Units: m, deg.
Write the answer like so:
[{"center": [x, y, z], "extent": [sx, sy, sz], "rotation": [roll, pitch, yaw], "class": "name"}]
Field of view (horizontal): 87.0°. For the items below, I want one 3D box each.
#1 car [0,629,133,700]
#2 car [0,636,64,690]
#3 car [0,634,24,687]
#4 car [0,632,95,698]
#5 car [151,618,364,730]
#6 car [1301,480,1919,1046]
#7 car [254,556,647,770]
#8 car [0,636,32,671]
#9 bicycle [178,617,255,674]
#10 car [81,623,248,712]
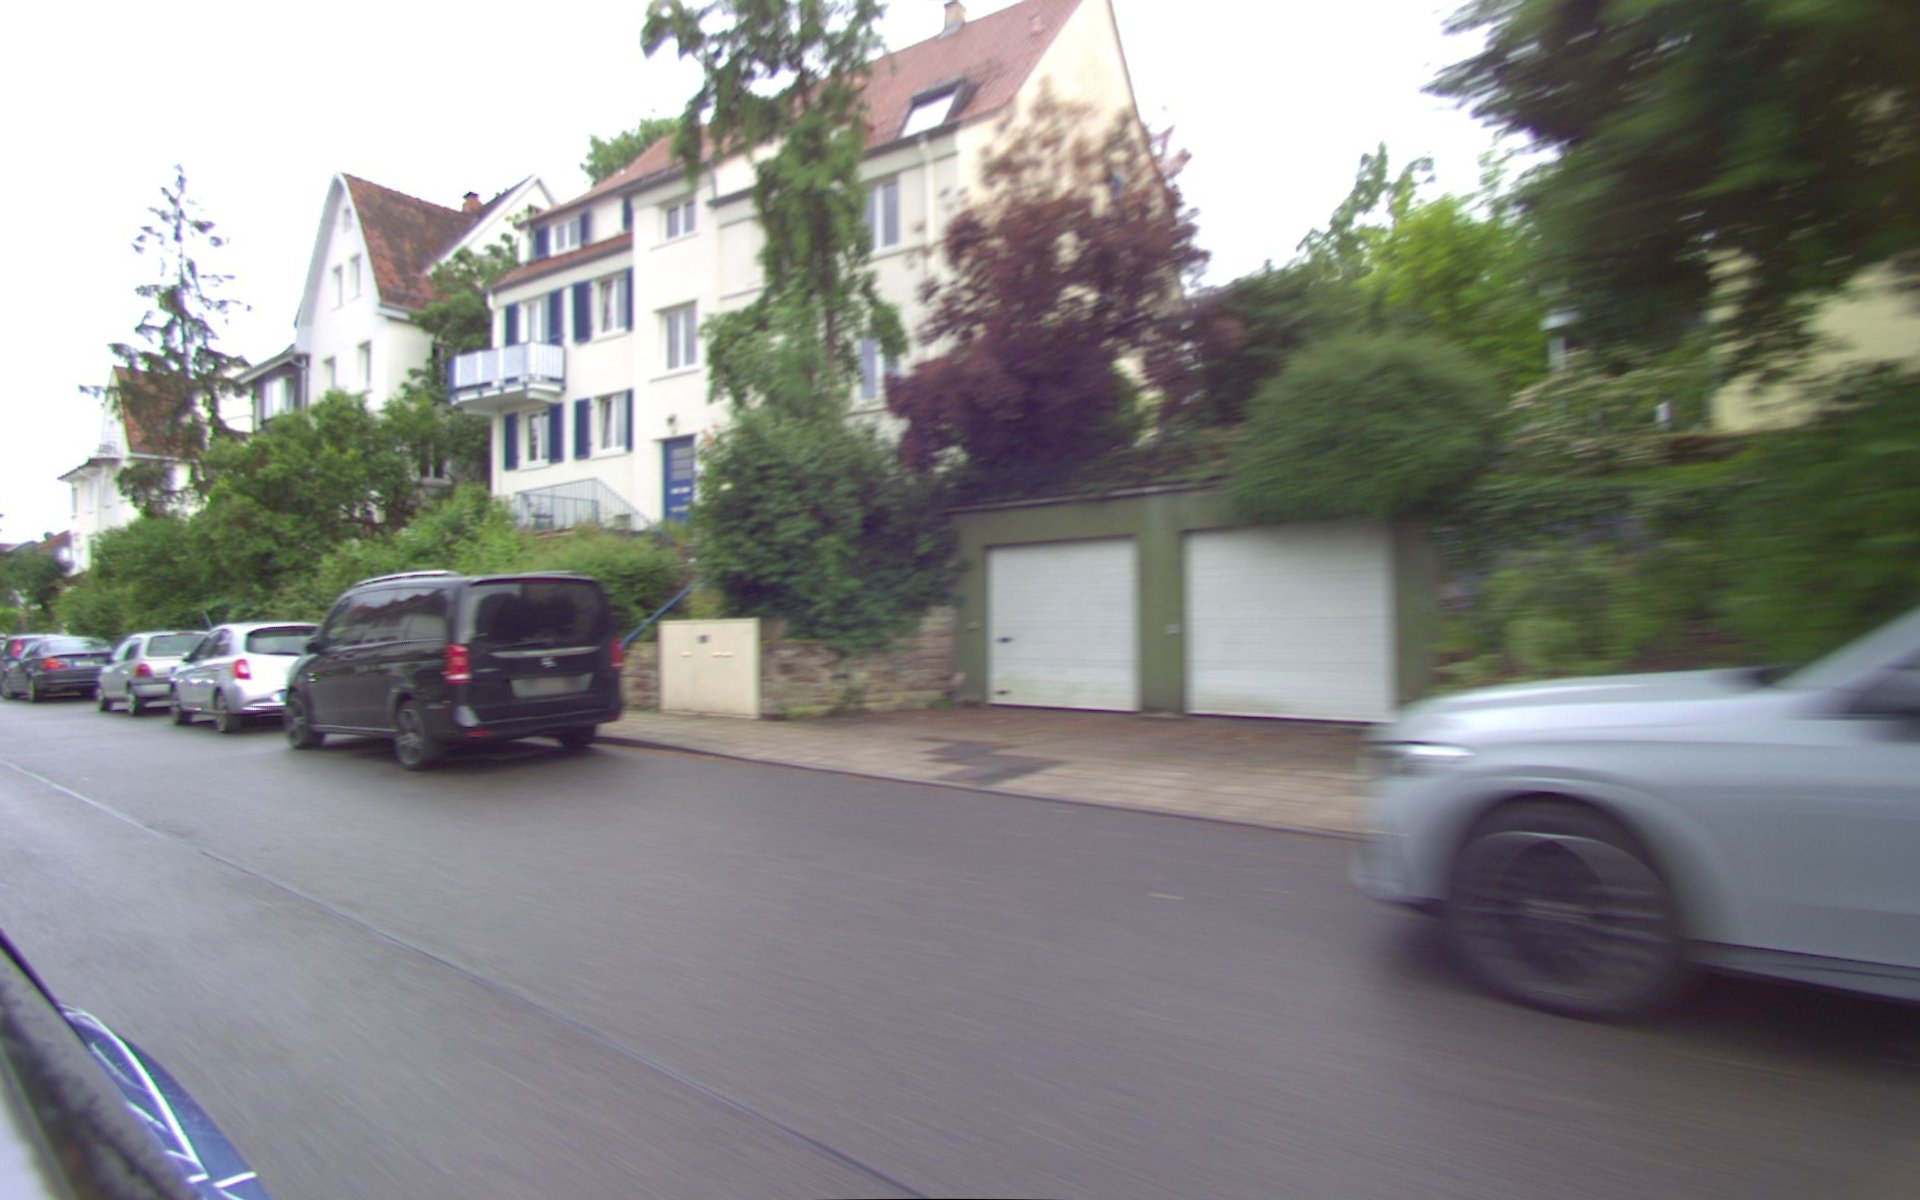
[{"center": [-20.909, 1.520, 23.490], "extent": [4.410, 1.458, 1.739], "rotation": [-5, -3, 38], "class": "car"}, {"center": [-27.886, 1.881, 29.606], "extent": [3.809, 1.458, 1.875], "rotation": [-5, -3, 39], "class": "car"}, {"center": [-31.613, 1.963, 32.207], "extent": [4.370, 1.635, 1.876], "rotation": [-3, -1, 36], "class": "car"}, {"center": [-24.331, 1.687, 26.629], "extent": [3.808, 1.553, 1.680], "rotation": [-3, -1, 38], "class": "car"}, {"center": [-10.685, 1.057, 15.311], "extent": [3.810, 1.458, 1.677], "rotation": [-2, -1, 39], "class": "car"}, {"center": [3.803, 0.396, 3.156], "extent": [4.759, 1.592, 1.973], "rotation": [-2, 1, 41], "class": "car"}, {"center": [-5.939, 0.624, 11.424], "extent": [5.352, 1.892, 1.973], "rotation": [-3, 0, 40], "class": "car"}, {"center": [-51.273, 2.904, 53.973], "extent": [3.990, 1.709, 1.751], "rotation": [-4, -3, 35], "class": "car"}, {"center": [-18.703, 1.158, 25.426], "extent": [2.288, 1.311, 0.994], "rotation": [-5, -3, 39], "class": "bicycle"}, {"center": [-14.810, 1.261, 18.789], "extent": [3.623, 1.458, 1.630], "rotation": [-5, -3, 38], "class": "car"}]
